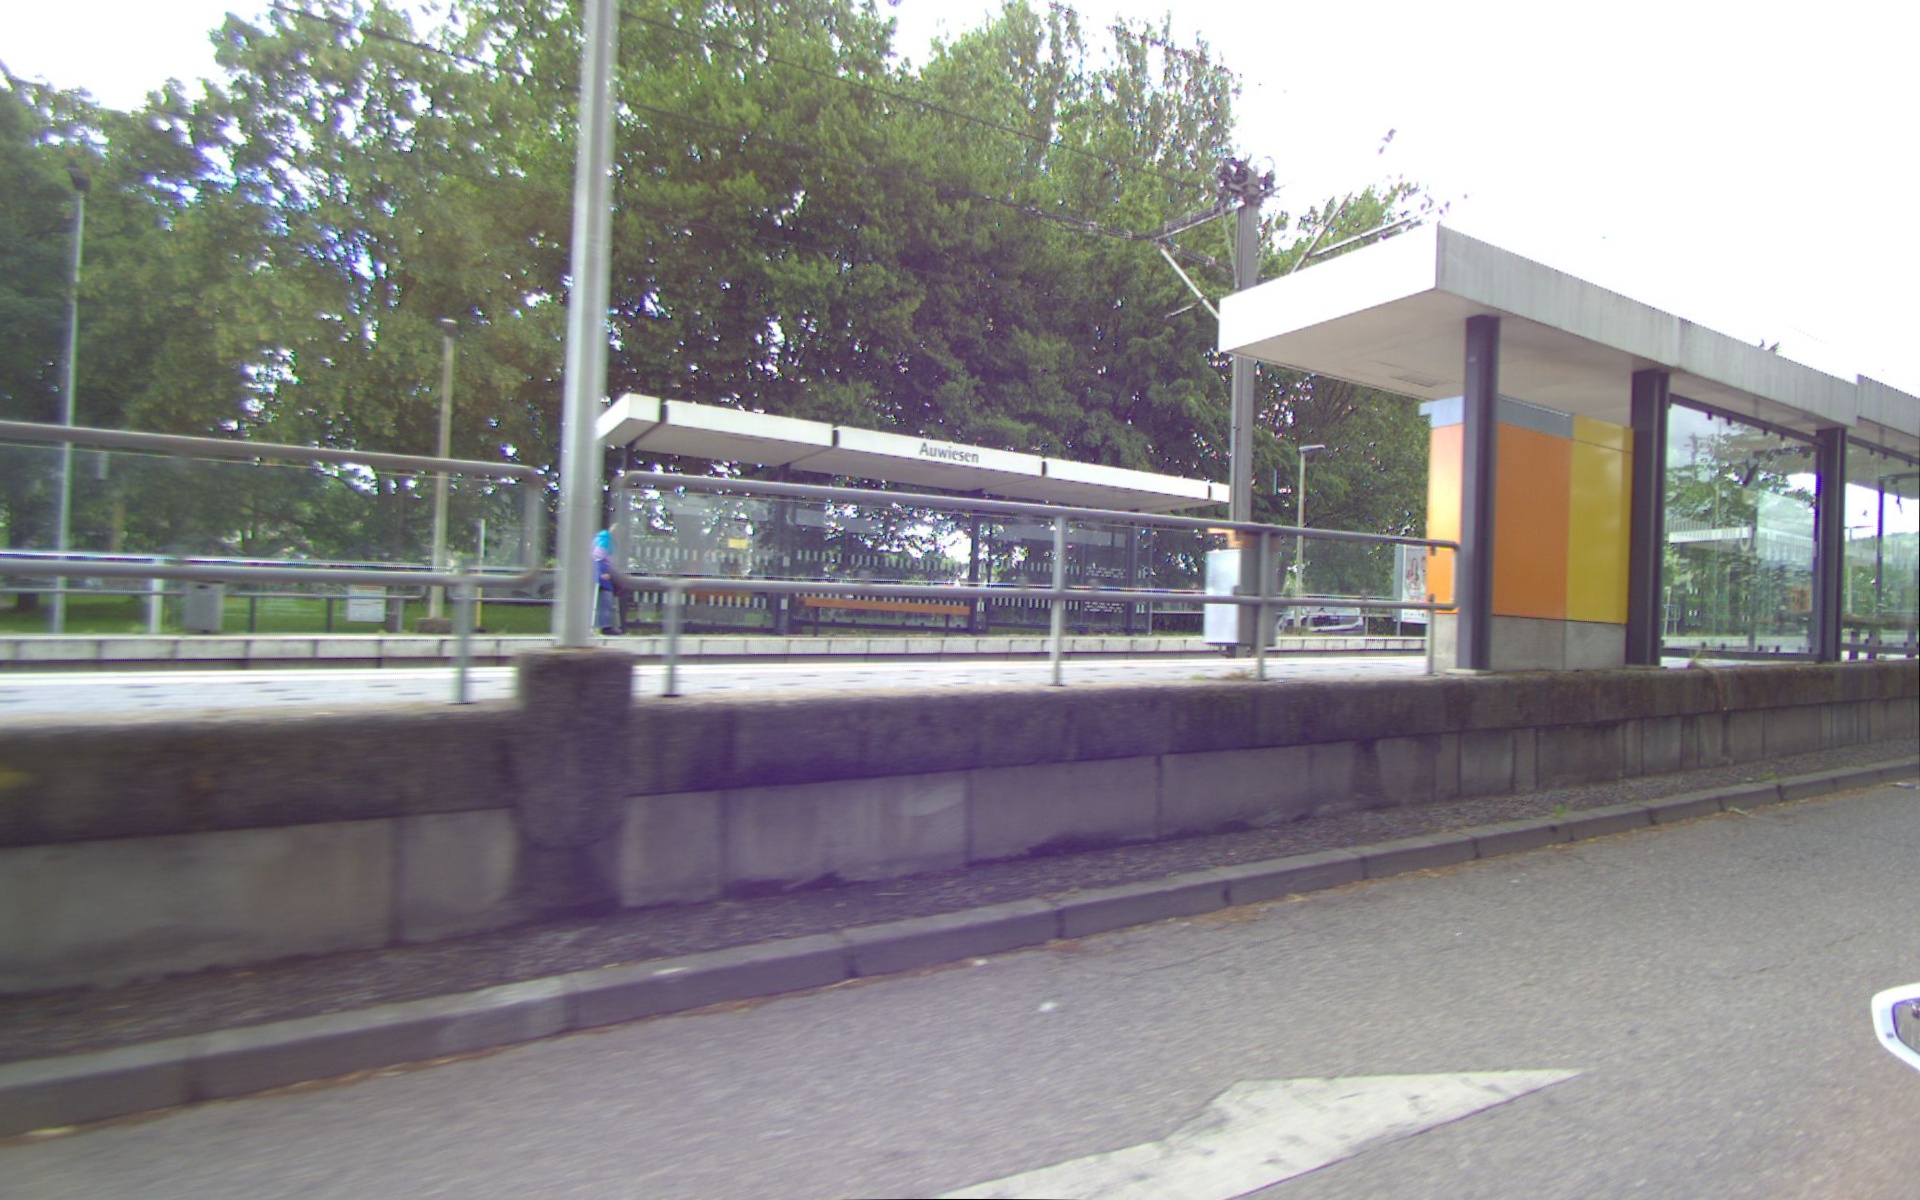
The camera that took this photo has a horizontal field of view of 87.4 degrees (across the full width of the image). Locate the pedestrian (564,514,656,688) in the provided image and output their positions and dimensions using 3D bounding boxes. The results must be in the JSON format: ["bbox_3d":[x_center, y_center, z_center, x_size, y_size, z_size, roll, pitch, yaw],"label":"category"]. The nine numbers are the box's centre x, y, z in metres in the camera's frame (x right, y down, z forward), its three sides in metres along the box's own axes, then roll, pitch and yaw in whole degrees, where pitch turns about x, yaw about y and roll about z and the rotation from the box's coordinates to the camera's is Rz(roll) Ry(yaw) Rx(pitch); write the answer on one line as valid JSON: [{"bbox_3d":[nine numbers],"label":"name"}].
[{"bbox_3d":[-4.681,0.025,13.411,0.964,2.215,0.965,2,0,-29],"label":"pedestrian"}]
